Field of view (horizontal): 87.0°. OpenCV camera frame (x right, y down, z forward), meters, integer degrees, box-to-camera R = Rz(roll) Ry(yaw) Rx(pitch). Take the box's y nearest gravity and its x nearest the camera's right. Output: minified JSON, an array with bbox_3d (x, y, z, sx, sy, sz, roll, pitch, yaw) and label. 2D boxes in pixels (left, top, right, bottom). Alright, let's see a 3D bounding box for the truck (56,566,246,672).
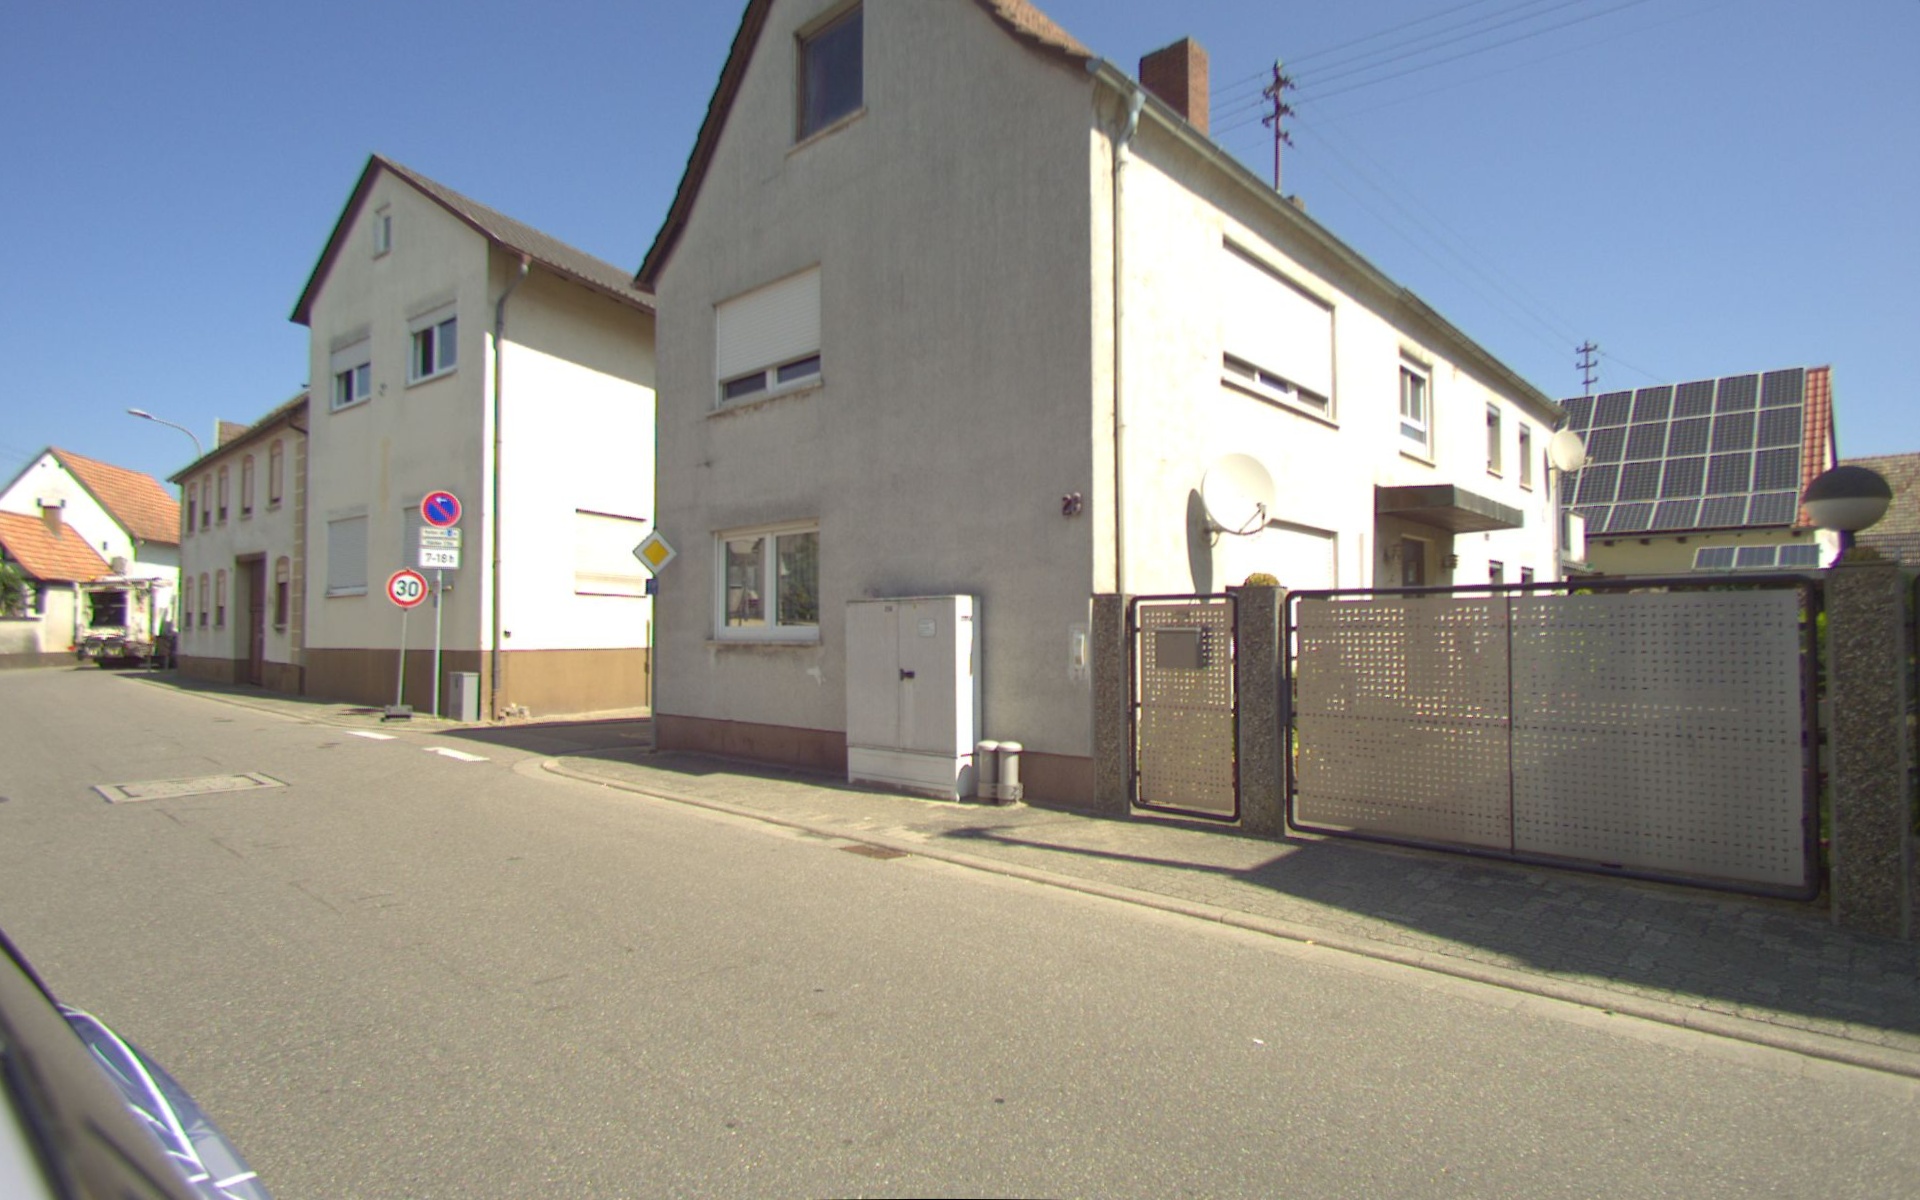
[{"bbox_3d":[-32.752,0.864,41.622,2.658,3.779,10.903,1,-2,-20],"label":"truck"}]
